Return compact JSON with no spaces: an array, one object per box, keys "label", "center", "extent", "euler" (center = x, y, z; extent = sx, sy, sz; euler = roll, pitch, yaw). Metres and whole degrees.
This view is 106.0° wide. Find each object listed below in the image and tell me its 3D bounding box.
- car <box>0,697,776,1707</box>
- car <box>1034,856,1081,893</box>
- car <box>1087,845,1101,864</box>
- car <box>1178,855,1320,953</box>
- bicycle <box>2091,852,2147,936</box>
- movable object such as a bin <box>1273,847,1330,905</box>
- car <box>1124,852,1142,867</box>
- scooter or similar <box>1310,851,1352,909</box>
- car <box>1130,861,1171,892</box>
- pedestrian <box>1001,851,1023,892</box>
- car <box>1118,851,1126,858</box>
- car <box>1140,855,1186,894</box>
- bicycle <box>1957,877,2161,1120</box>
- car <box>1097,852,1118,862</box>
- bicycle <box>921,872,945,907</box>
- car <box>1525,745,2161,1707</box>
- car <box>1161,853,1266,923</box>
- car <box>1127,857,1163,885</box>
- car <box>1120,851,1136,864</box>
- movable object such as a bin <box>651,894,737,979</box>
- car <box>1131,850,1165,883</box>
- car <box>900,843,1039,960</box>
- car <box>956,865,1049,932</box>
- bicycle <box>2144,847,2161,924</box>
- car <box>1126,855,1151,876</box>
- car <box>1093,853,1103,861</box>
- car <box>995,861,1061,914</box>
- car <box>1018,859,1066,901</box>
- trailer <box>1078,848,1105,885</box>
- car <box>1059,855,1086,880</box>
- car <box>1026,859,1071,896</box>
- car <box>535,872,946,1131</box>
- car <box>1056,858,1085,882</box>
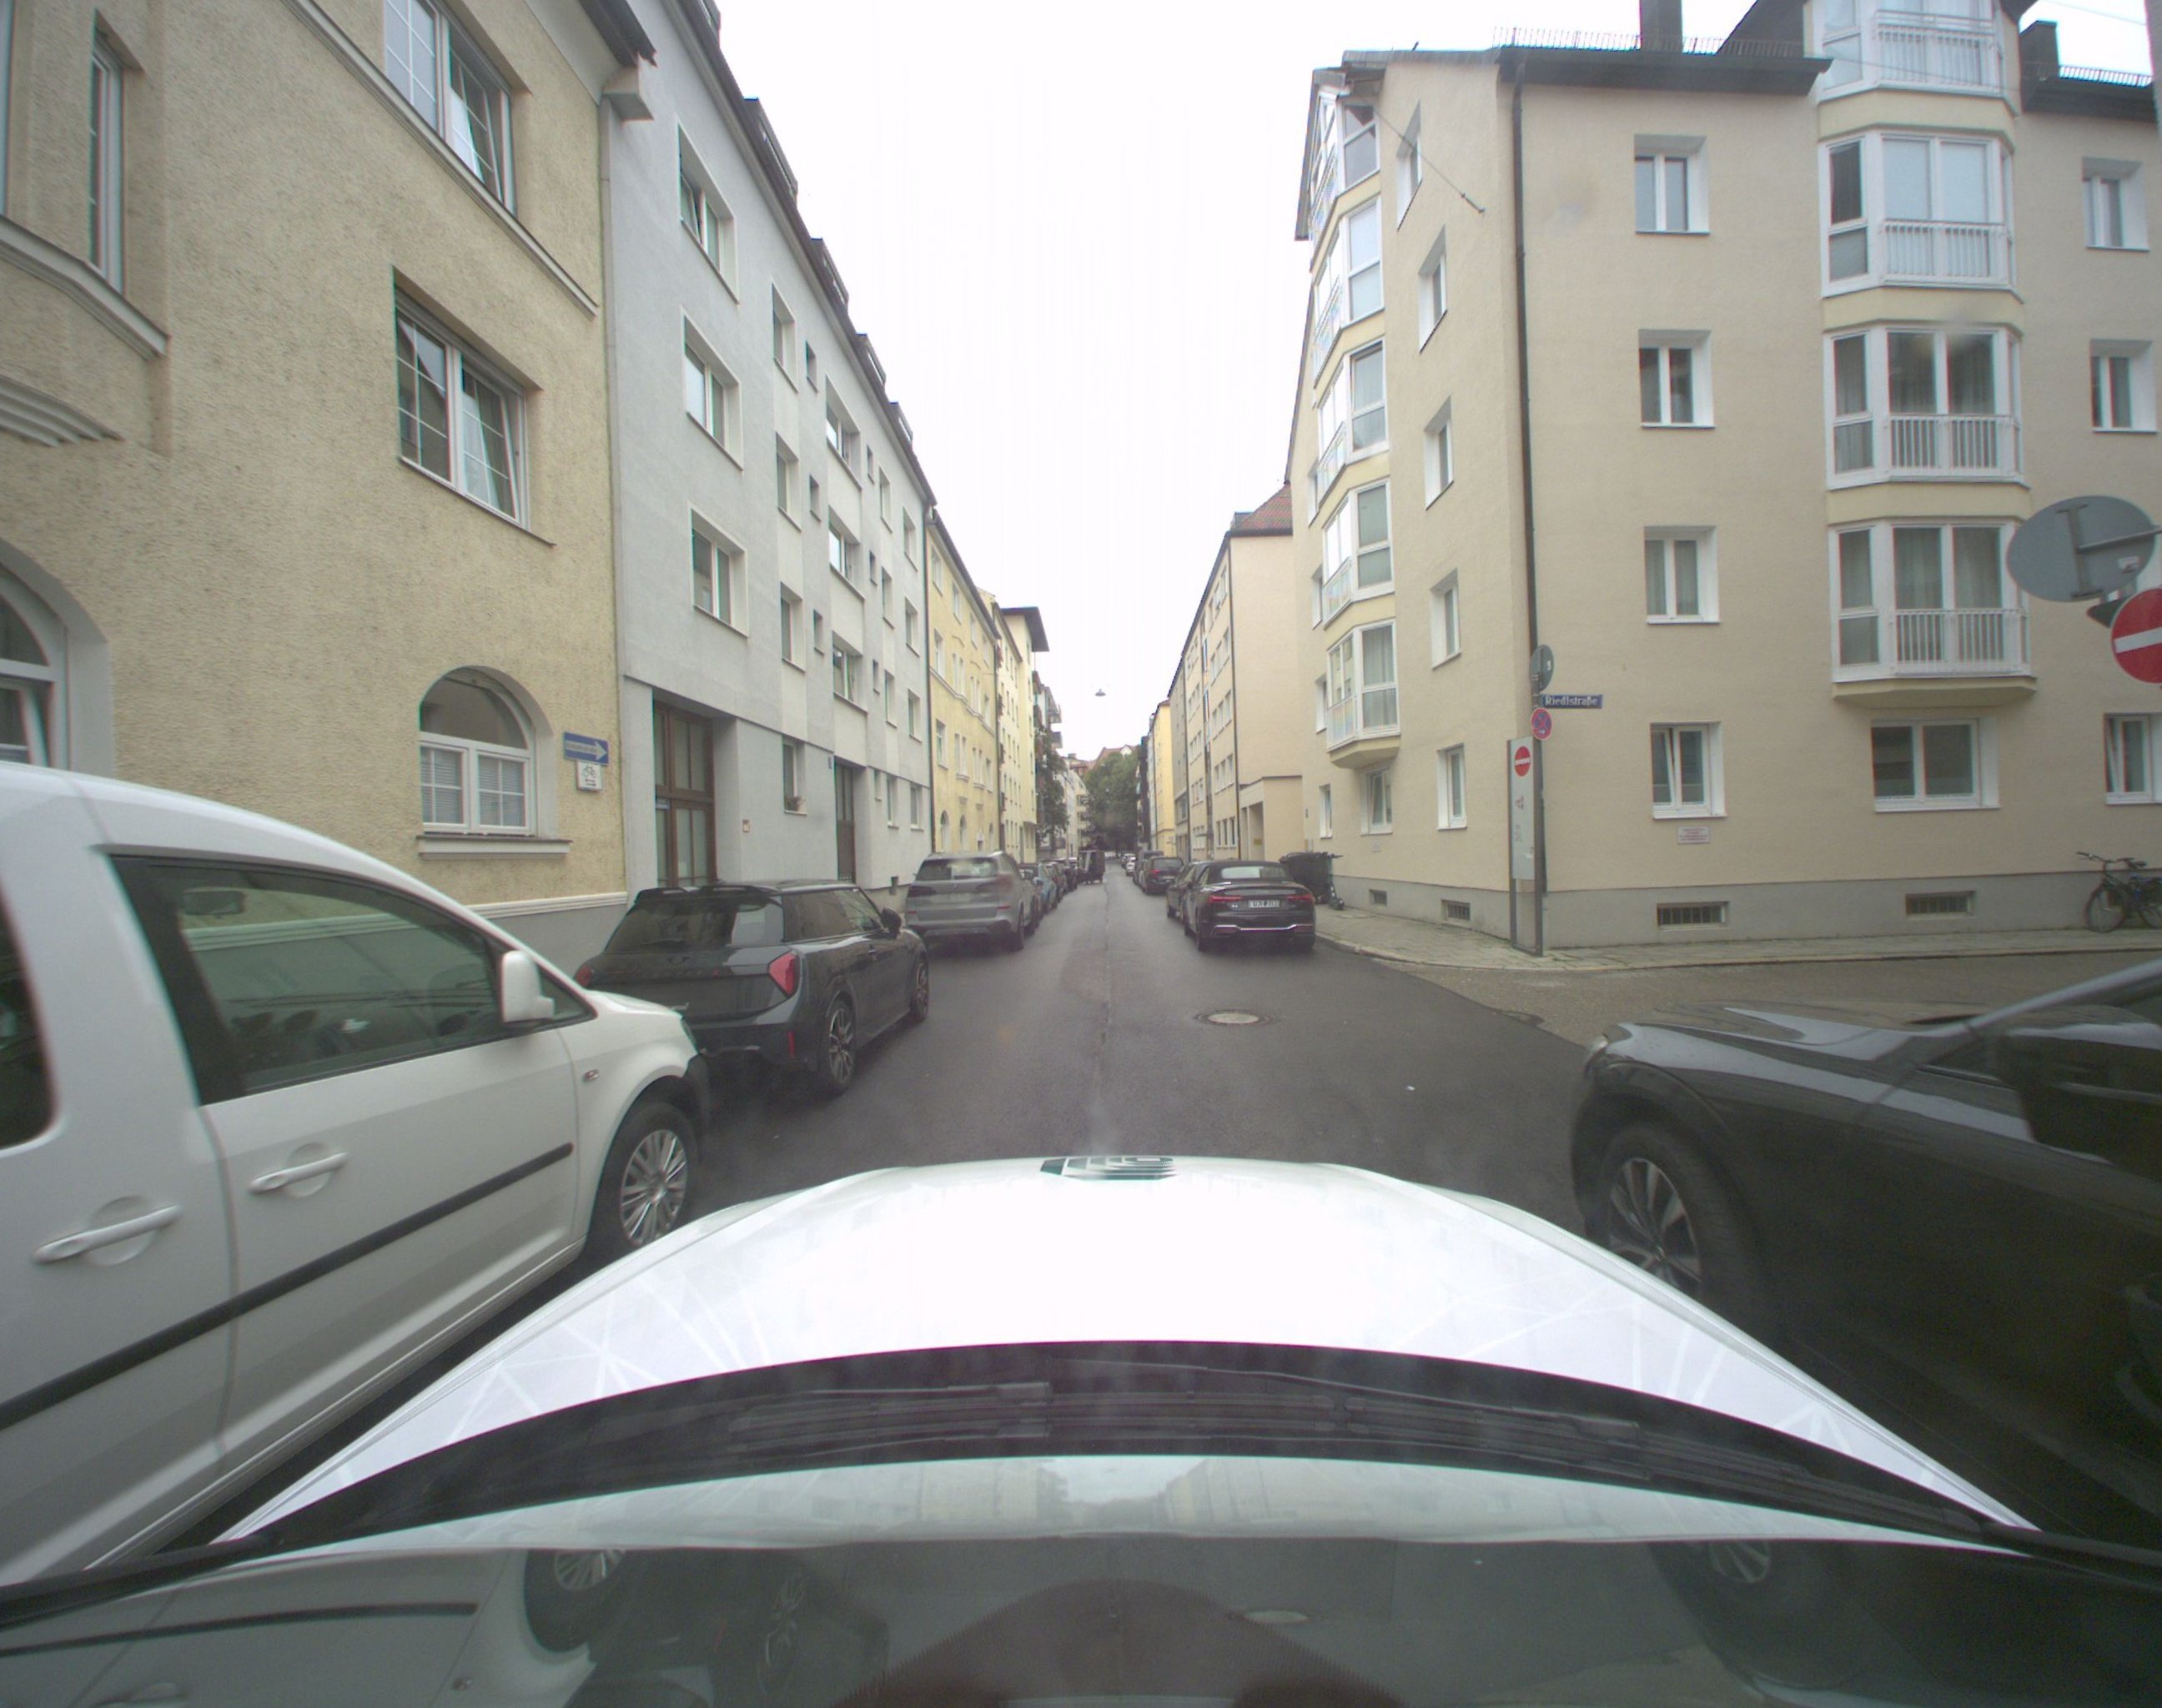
[{"label":"car","center":[-2.530,0.705,1.901],"extent":[1.717,1.789,4.252],"euler":[-4,-1,3]},{"label":"car","center":[-1.126,0.970,40.817],"extent":[1.871,1.660,4.419],"euler":[-3,0,4]},{"label":"car","center":[2.106,0.077,127.636],"extent":[1.929,2.801,4.534],"euler":[-5,0,2]},{"label":"car","center":[2.718,0.751,14.130],"extent":[1.825,1.406,4.415],"euler":[-1,-1,4]},{"label":"bicycle","center":[14.917,0.541,11.703],"extent":[1.731,1.087,0.450],"euler":[-2,0,-38]},{"label":"movable object such as a bin","center":[5.798,0.564,21.485],"extent":[1.028,1.423,1.587],"euler":[-4,-1,2]},{"label":"car","center":[5.454,0.544,86.135],"extent":[1.744,1.469,4.345],"euler":[1,0,2]},{"label":"scooter or similar","center":[5.818,0.592,18.974],"extent":[0.574,1.266,1.137],"euler":[-4,-1,2]},{"label":"car","center":[3.456,1.098,41.305],"extent":[1.706,1.486,4.243],"euler":[-1,-1,0]},{"label":"pedestrian","center":[-3.046,0.782,36.036],"extent":[0.836,1.764,1.068],"euler":[-1,0,1]},{"label":"car","center":[8.719,0.178,173.305],"extent":[1.636,1.383,3.747],"euler":[-5,0,2]},{"label":"car","center":[3.529,0.856,35.774],"extent":[1.705,1.608,4.245],"euler":[-1,-1,1]},{"label":"bicycle","center":[5.458,0.707,4.141],"extent":[0.548,1.126,1.358],"euler":[-2,0,2]},{"label":"car","center":[5.021,0.493,156.175],"extent":[3.872,1.584,1.648],"euler":[-5,0,0]},{"label":"bicycle","center":[-4.629,1.091,25.515],"extent":[0.394,1.031,1.571],"euler":[-1,-1,2]},{"label":"car","center":[2.488,0.636,0.759],"extent":[1.826,1.621,4.412],"euler":[-1,-1,1]},{"label":"car","center":[3.045,0.751,19.619],"extent":[1.712,1.471,4.529],"euler":[-1,-1,-1]},{"label":"car","center":[3.611,0.942,46.289],"extent":[1.706,1.486,4.243],"euler":[-1,-1,0]},{"label":"car","center":[5.494,0.398,96.088],"extent":[1.676,1.567,4.415],"euler":[1,0,0]},{"label":"movable object such as a bin","center":[-5.174,1.085,10.915],"extent":[0.804,1.051,0.623],"euler":[2,-1,1]},{"label":"car","center":[4.180,0.717,51.283],"extent":[1.745,1.975,4.342],"euler":[0,0,0]},{"label":"car","center":[-1.922,0.790,15.541],"extent":[1.856,1.770,4.735],"euler":[-4,-1,0]},{"label":"car","center":[-1.854,1.031,20.516],"extent":[1.805,1.386,4.251],"euler":[-4,-1,1]},{"label":"bicycle","center":[16.334,0.438,11.962],"extent":[1.725,1.087,0.452],"euler":[-2,0,-24]},{"label":"car","center":[4.627,0.890,65.831],"extent":[1.812,1.408,3.954],"euler":[-1,3,1]},{"label":"car","center":[3.135,0.497,146.434],"extent":[1.636,1.383,3.484],"euler":[-5,0,2]},{"label":"car","center":[-1.569,0.983,25.305],"extent":[1.556,1.460,3.407],"euler":[-3,0,4]},{"label":"car","center":[-1.440,0.939,31.128],"extent":[1.557,1.460,3.764],"euler":[-3,0,1]},{"label":"trailer","center":[0.700,0.777,50.501],"extent":[1.349,2.116,3.322],"euler":[-2,-1,5]},{"label":"car","center":[-0.577,0.943,58.633],"extent":[1.759,1.675,4.368],"euler":[-3,0,1]},{"label":"car","center":[-1.390,0.999,36.169],"extent":[1.556,1.460,3.479],"euler":[-3,0,3]},{"label":"car","center":[-2.336,0.913,6.694],"extent":[1.646,1.411,3.735],"euler":[-4,-1,1]},{"label":"car","center":[-0.641,1.053,53.357],"extent":[1.646,1.435,3.805],"euler":[-3,0,2]}]
